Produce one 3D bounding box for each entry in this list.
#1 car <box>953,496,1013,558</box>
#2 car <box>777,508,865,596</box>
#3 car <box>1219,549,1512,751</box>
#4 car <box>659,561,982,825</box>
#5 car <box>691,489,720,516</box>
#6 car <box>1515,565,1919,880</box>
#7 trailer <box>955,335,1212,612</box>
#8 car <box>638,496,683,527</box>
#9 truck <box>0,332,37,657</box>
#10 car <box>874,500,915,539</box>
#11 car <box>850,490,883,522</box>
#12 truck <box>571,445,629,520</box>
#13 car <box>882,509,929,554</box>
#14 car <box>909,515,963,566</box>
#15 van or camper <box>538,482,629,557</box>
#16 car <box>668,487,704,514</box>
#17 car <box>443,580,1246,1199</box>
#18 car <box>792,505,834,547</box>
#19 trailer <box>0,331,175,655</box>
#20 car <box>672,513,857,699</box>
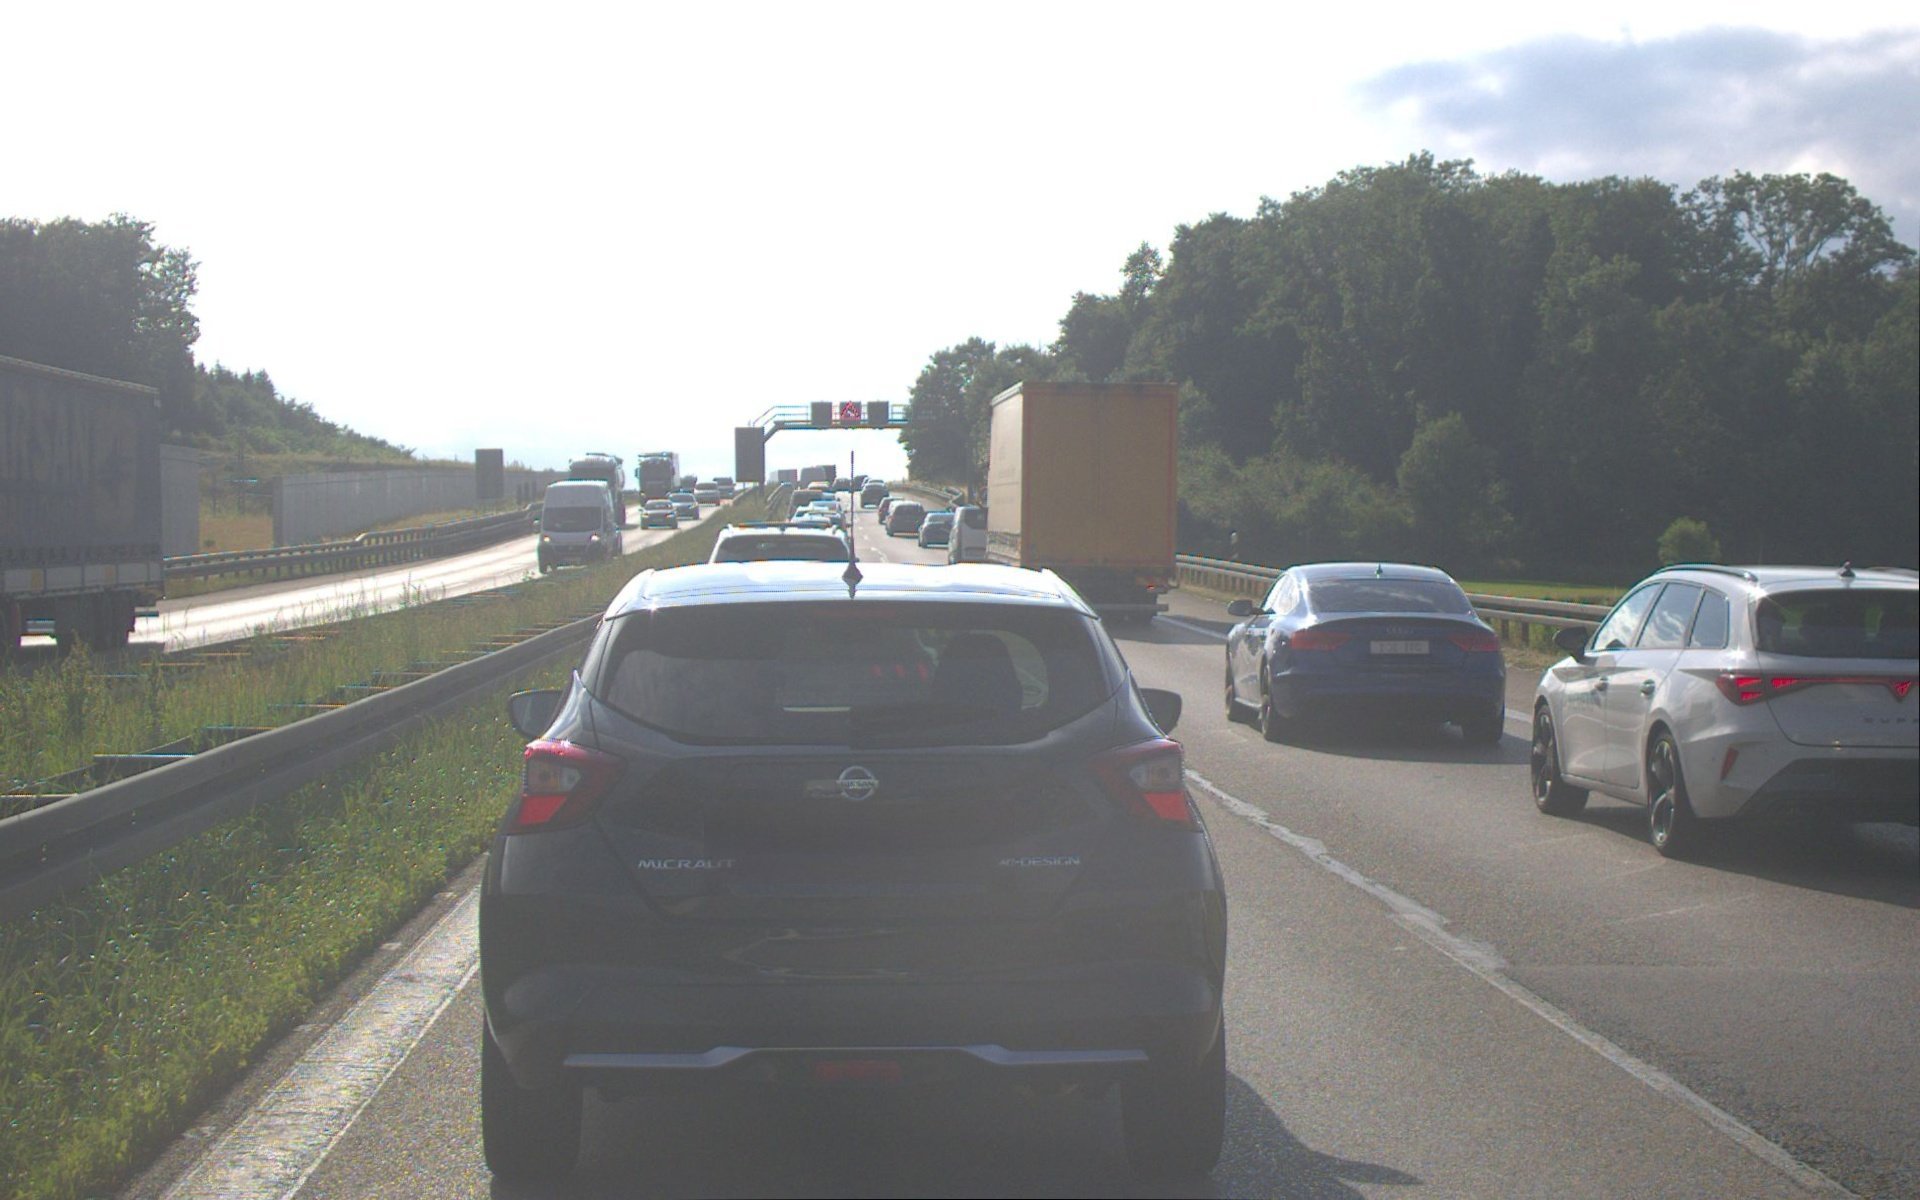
[{"bbox_3d":[0.662,-2.122,100.888,1.667,1.748,3.327,1,1,-1],"label":"car"},{"bbox_3d":[-3.304,-1.127,80.976,1.993,2.007,4.000,1,1,-3],"label":"car"},{"bbox_3d":[3.150,0.353,27.441,1.747,1.470,4.147,1,0,-1],"label":"car"},{"bbox_3d":[-0.768,0.473,19.770,1.674,1.362,3.596,1,0,-1],"label":"car"},{"bbox_3d":[-18.554,-7.115,250.742,1.860,1.827,4.281,1,1,-2],"label":"car"},{"bbox_3d":[4.162,0.549,17.881,1.620,1.440,4.147,1,0,-4],"label":"car"},{"bbox_3d":[1.999,-2.113,62.166,3.548,4.442,12.723,1,1,-3],"label":"trailer"},{"bbox_3d":[-15.296,-4.511,175.682,1.993,1.481,4.398,1,1,-1],"label":"car"},{"bbox_3d":[-13.339,-1.323,41.744,2.637,4.084,7.003,1,1,-3],"label":"truck"},{"bbox_3d":[-3.515,-4.306,183.453,1.993,2.007,4.000,1,1,-3],"label":"car"},{"bbox_3d":[-6.127,-6.157,224.790,1.993,2.007,4.000,1,1,-3],"label":"car"},{"bbox_3d":[-18.956,-6.162,181.465,2.552,3.785,5.418,-1,1,-2],"label":"truck"},{"bbox_3d":[-2.507,-3.119,157.828,1.993,2.007,4.000,1,1,-3],"label":"car"},{"bbox_3d":[-0.992,-2.391,139.448,1.993,2.007,4.000,1,1,-3],"label":"car"},{"bbox_3d":[-11.689,-2.477,107.106,2.166,2.198,6.259,1,1,-1],"label":"van or camper"},{"bbox_3d":[-16.040,-5.825,201.480,1.803,1.511,4.691,1,1,-1],"label":"car"},{"bbox_3d":[-0.268,0.673,9.078,1.710,1.421,3.378,1,0,-1],"label":"car"},{"bbox_3d":[-7.251,-3.636,169.562,1.993,2.007,4.000,1,1,-3],"label":"car"},{"bbox_3d":[-13.682,-1.421,49.245,2.653,4.067,12.399,1,1,-3],"label":"trailer"},{"bbox_3d":[-1.872,0.039,33.857,1.674,1.720,3.596,1,0,-1],"label":"car"}]
